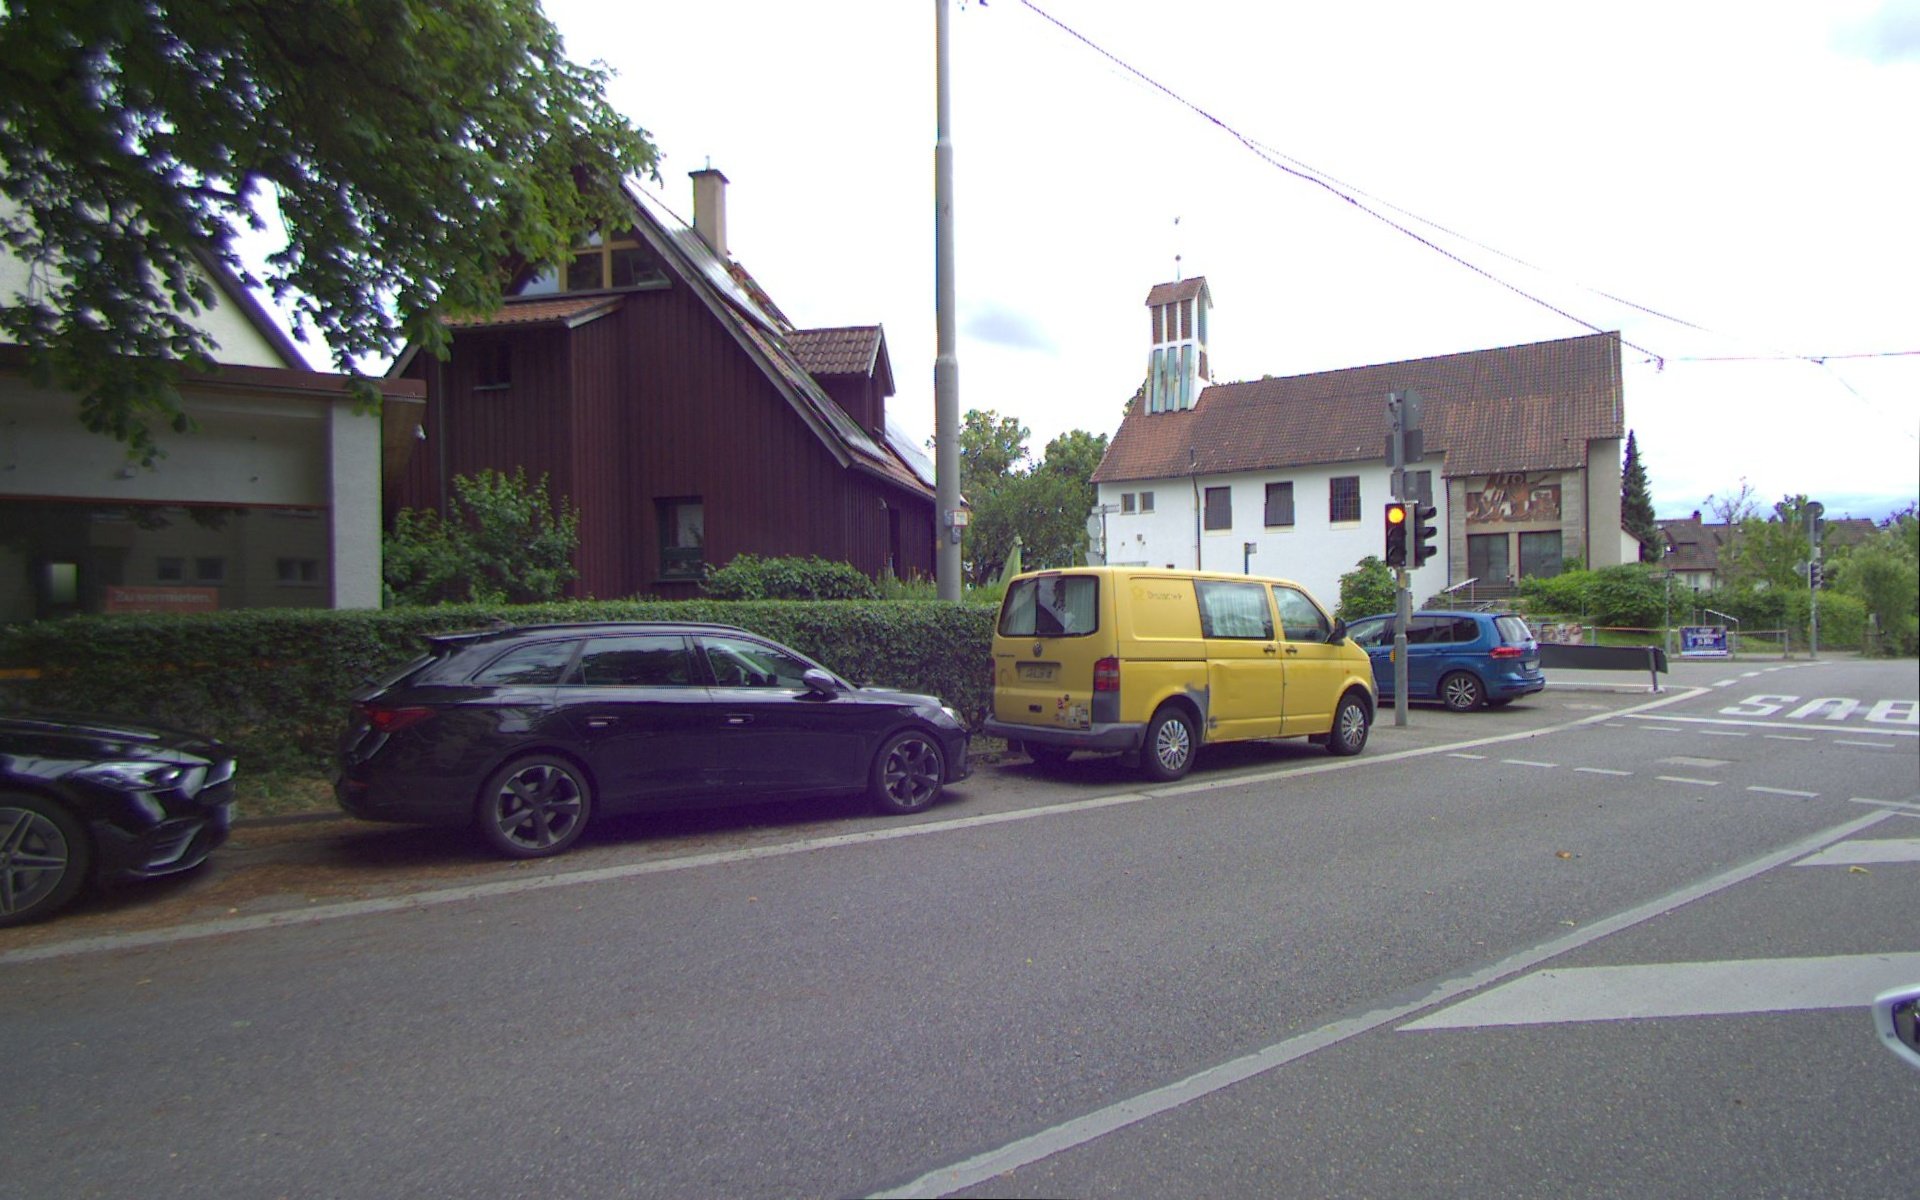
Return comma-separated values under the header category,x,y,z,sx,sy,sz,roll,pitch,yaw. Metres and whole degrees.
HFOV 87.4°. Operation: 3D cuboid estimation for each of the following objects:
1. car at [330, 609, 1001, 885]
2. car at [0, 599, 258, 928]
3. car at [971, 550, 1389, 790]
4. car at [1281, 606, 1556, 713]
category,x,y,z,sx,sy,sz,roll,pitch,yaw
car,-1.997,0.845,7.430,4.494,1.505,1.681,1,-2,-34
car,-6.213,0.764,4.745,4.561,1.520,1.984,1,-2,-31
car,2.461,0.646,10.674,4.523,2.040,1.870,1,-2,-37
car,7.813,0.988,17.355,1.806,1.632,3.948,1,-3,-44
